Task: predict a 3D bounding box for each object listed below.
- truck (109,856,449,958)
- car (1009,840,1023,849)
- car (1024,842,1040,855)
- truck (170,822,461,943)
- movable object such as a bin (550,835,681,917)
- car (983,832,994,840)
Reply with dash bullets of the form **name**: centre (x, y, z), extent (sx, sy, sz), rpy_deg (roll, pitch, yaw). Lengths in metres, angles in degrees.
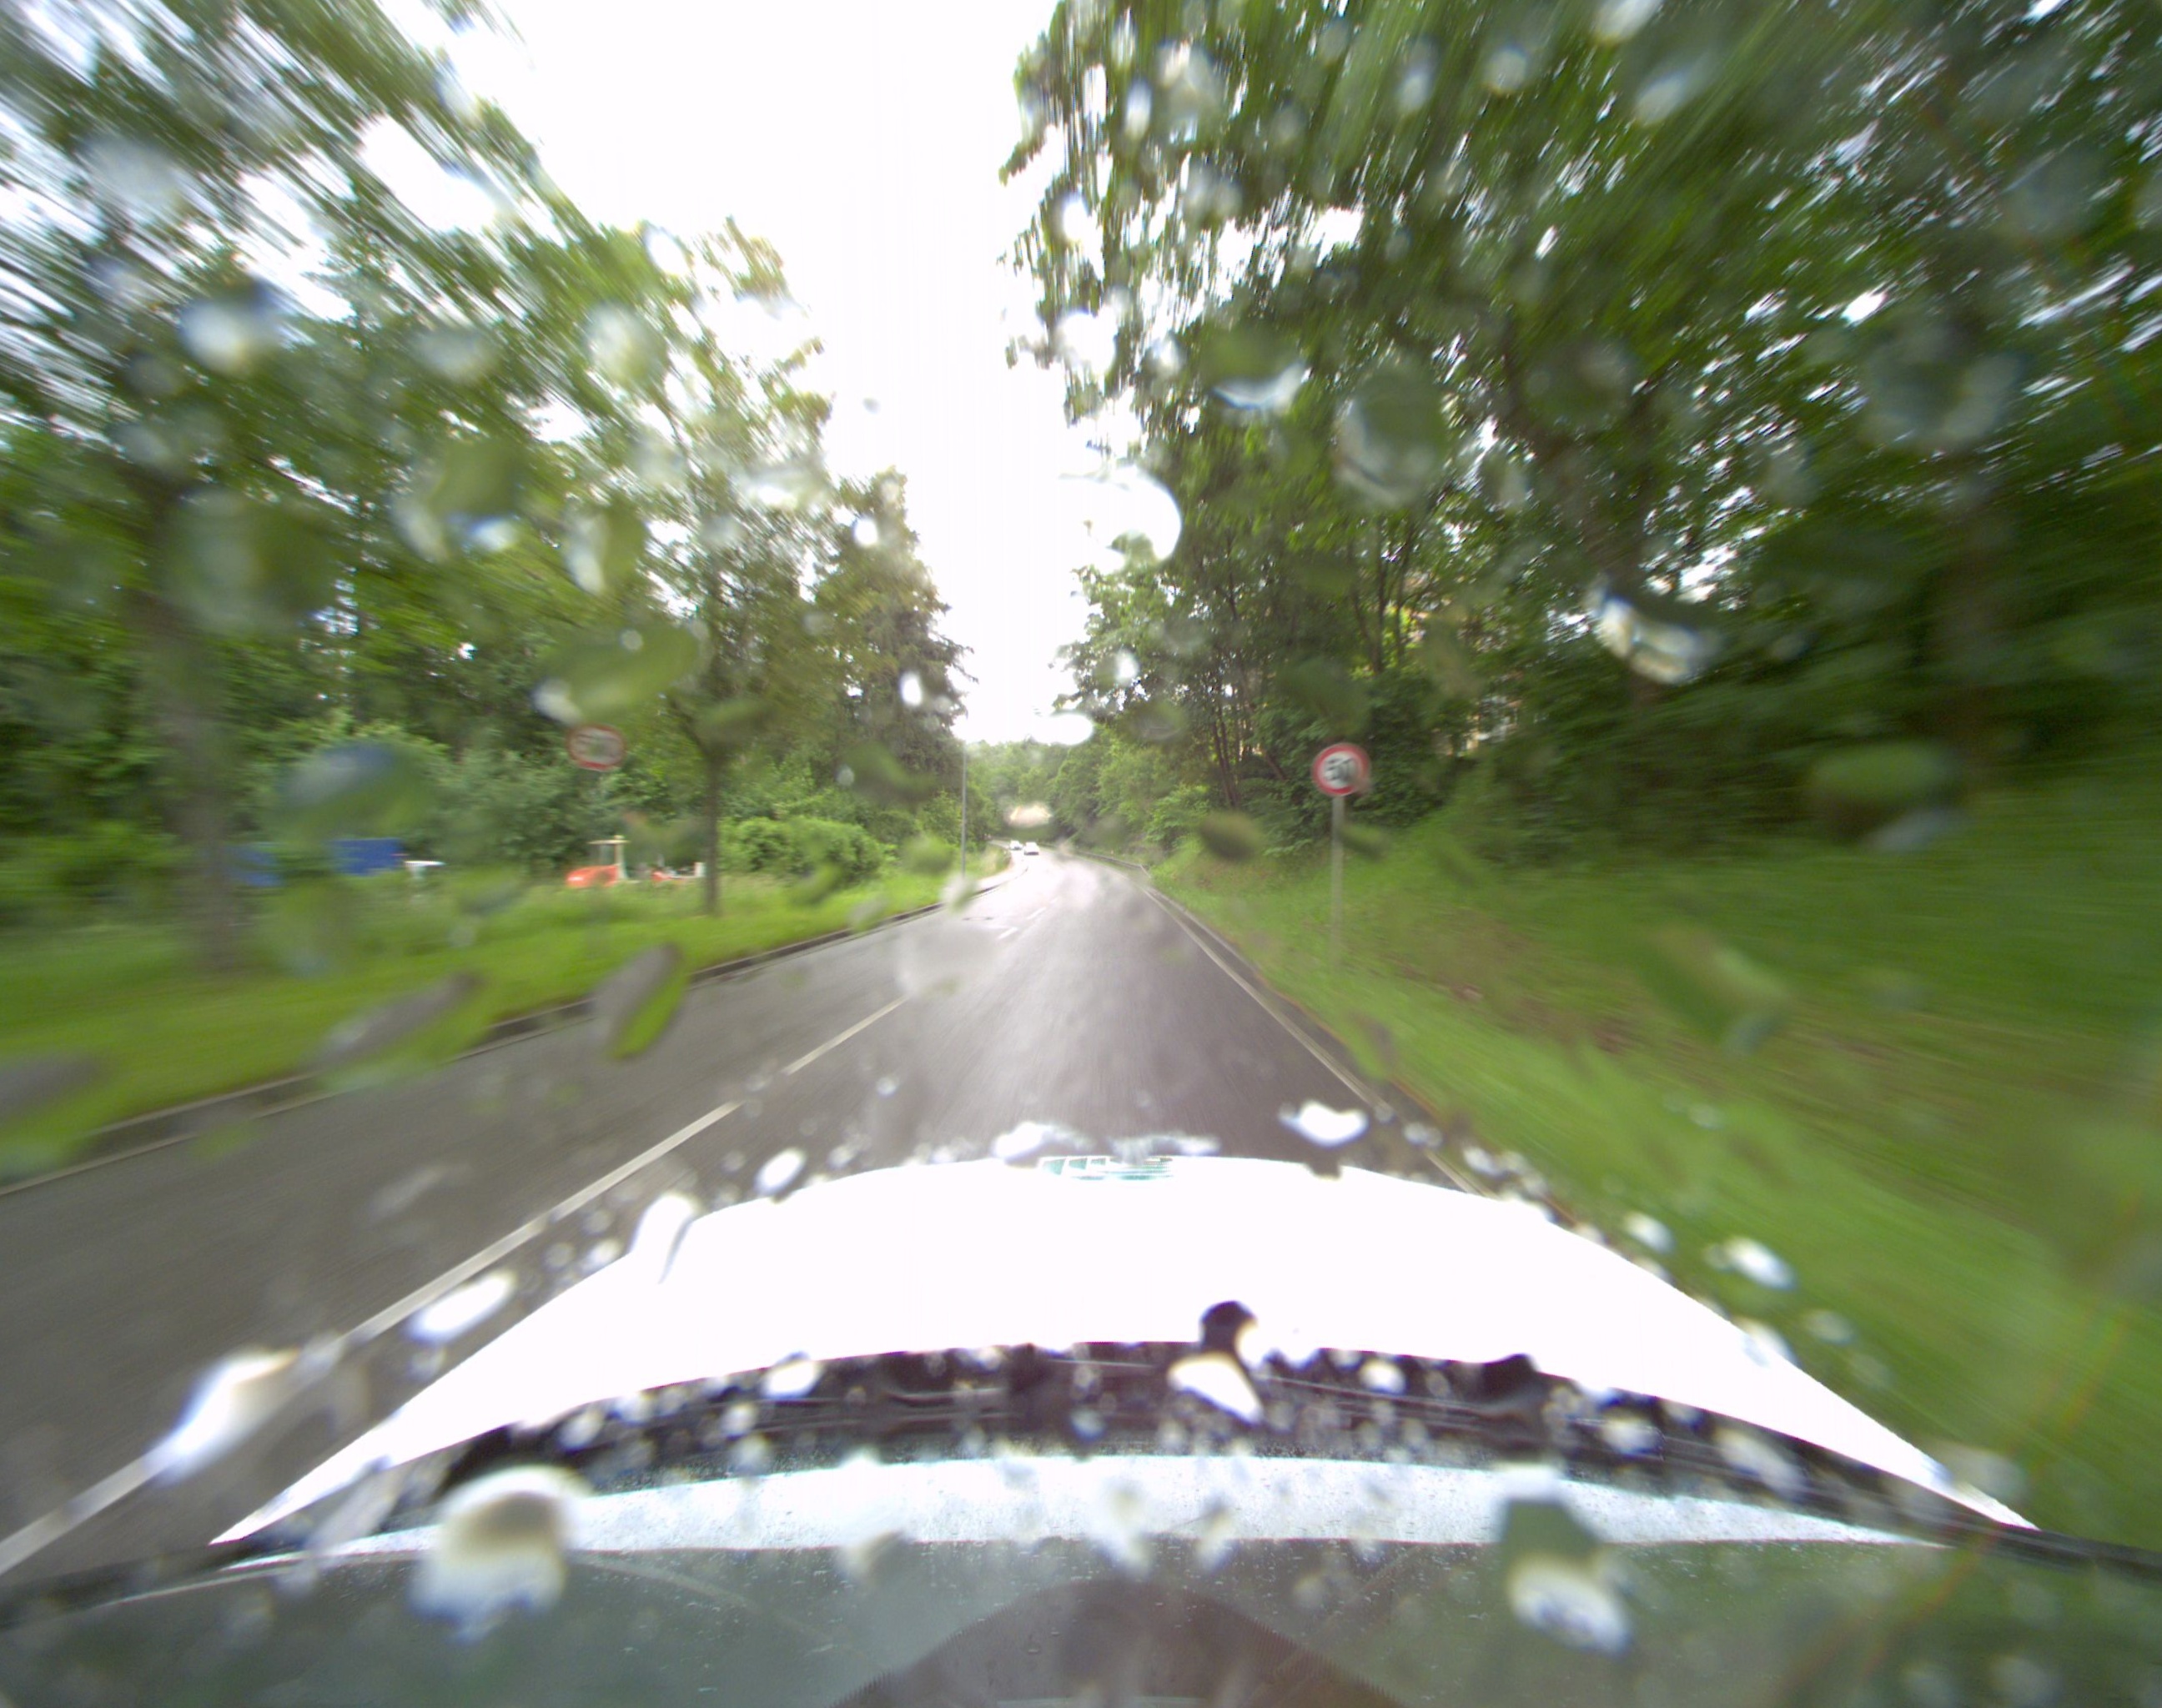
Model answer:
- **truck**: centre (-21.182, 1.231, 22.062), extent (1.976, 2.201, 6.273), rpy_deg (1, 1, 22)
- **car**: centre (-10.692, -1.500, 132.811), extent (1.815, 1.434, 3.985), rpy_deg (-2, 0, -11)
- **car**: centre (-6.878, -0.782, 113.915), extent (1.813, 1.648, 4.119), rpy_deg (-1, 0, -8)
- **truck**: centre (-17.555, 0.529, 19.189), extent (1.988, 2.457, 5.220), rpy_deg (1, 1, -2)
- **movable object such as a bin**: centre (-17.285, 0.754, 30.466), extent (1.979, 2.861, 4.017), rpy_deg (0, 0, 15)
- **car**: centre (-19.204, -3.750, 169.277), extent (1.732, 1.510, 3.998), rpy_deg (-2, 1, -1)
